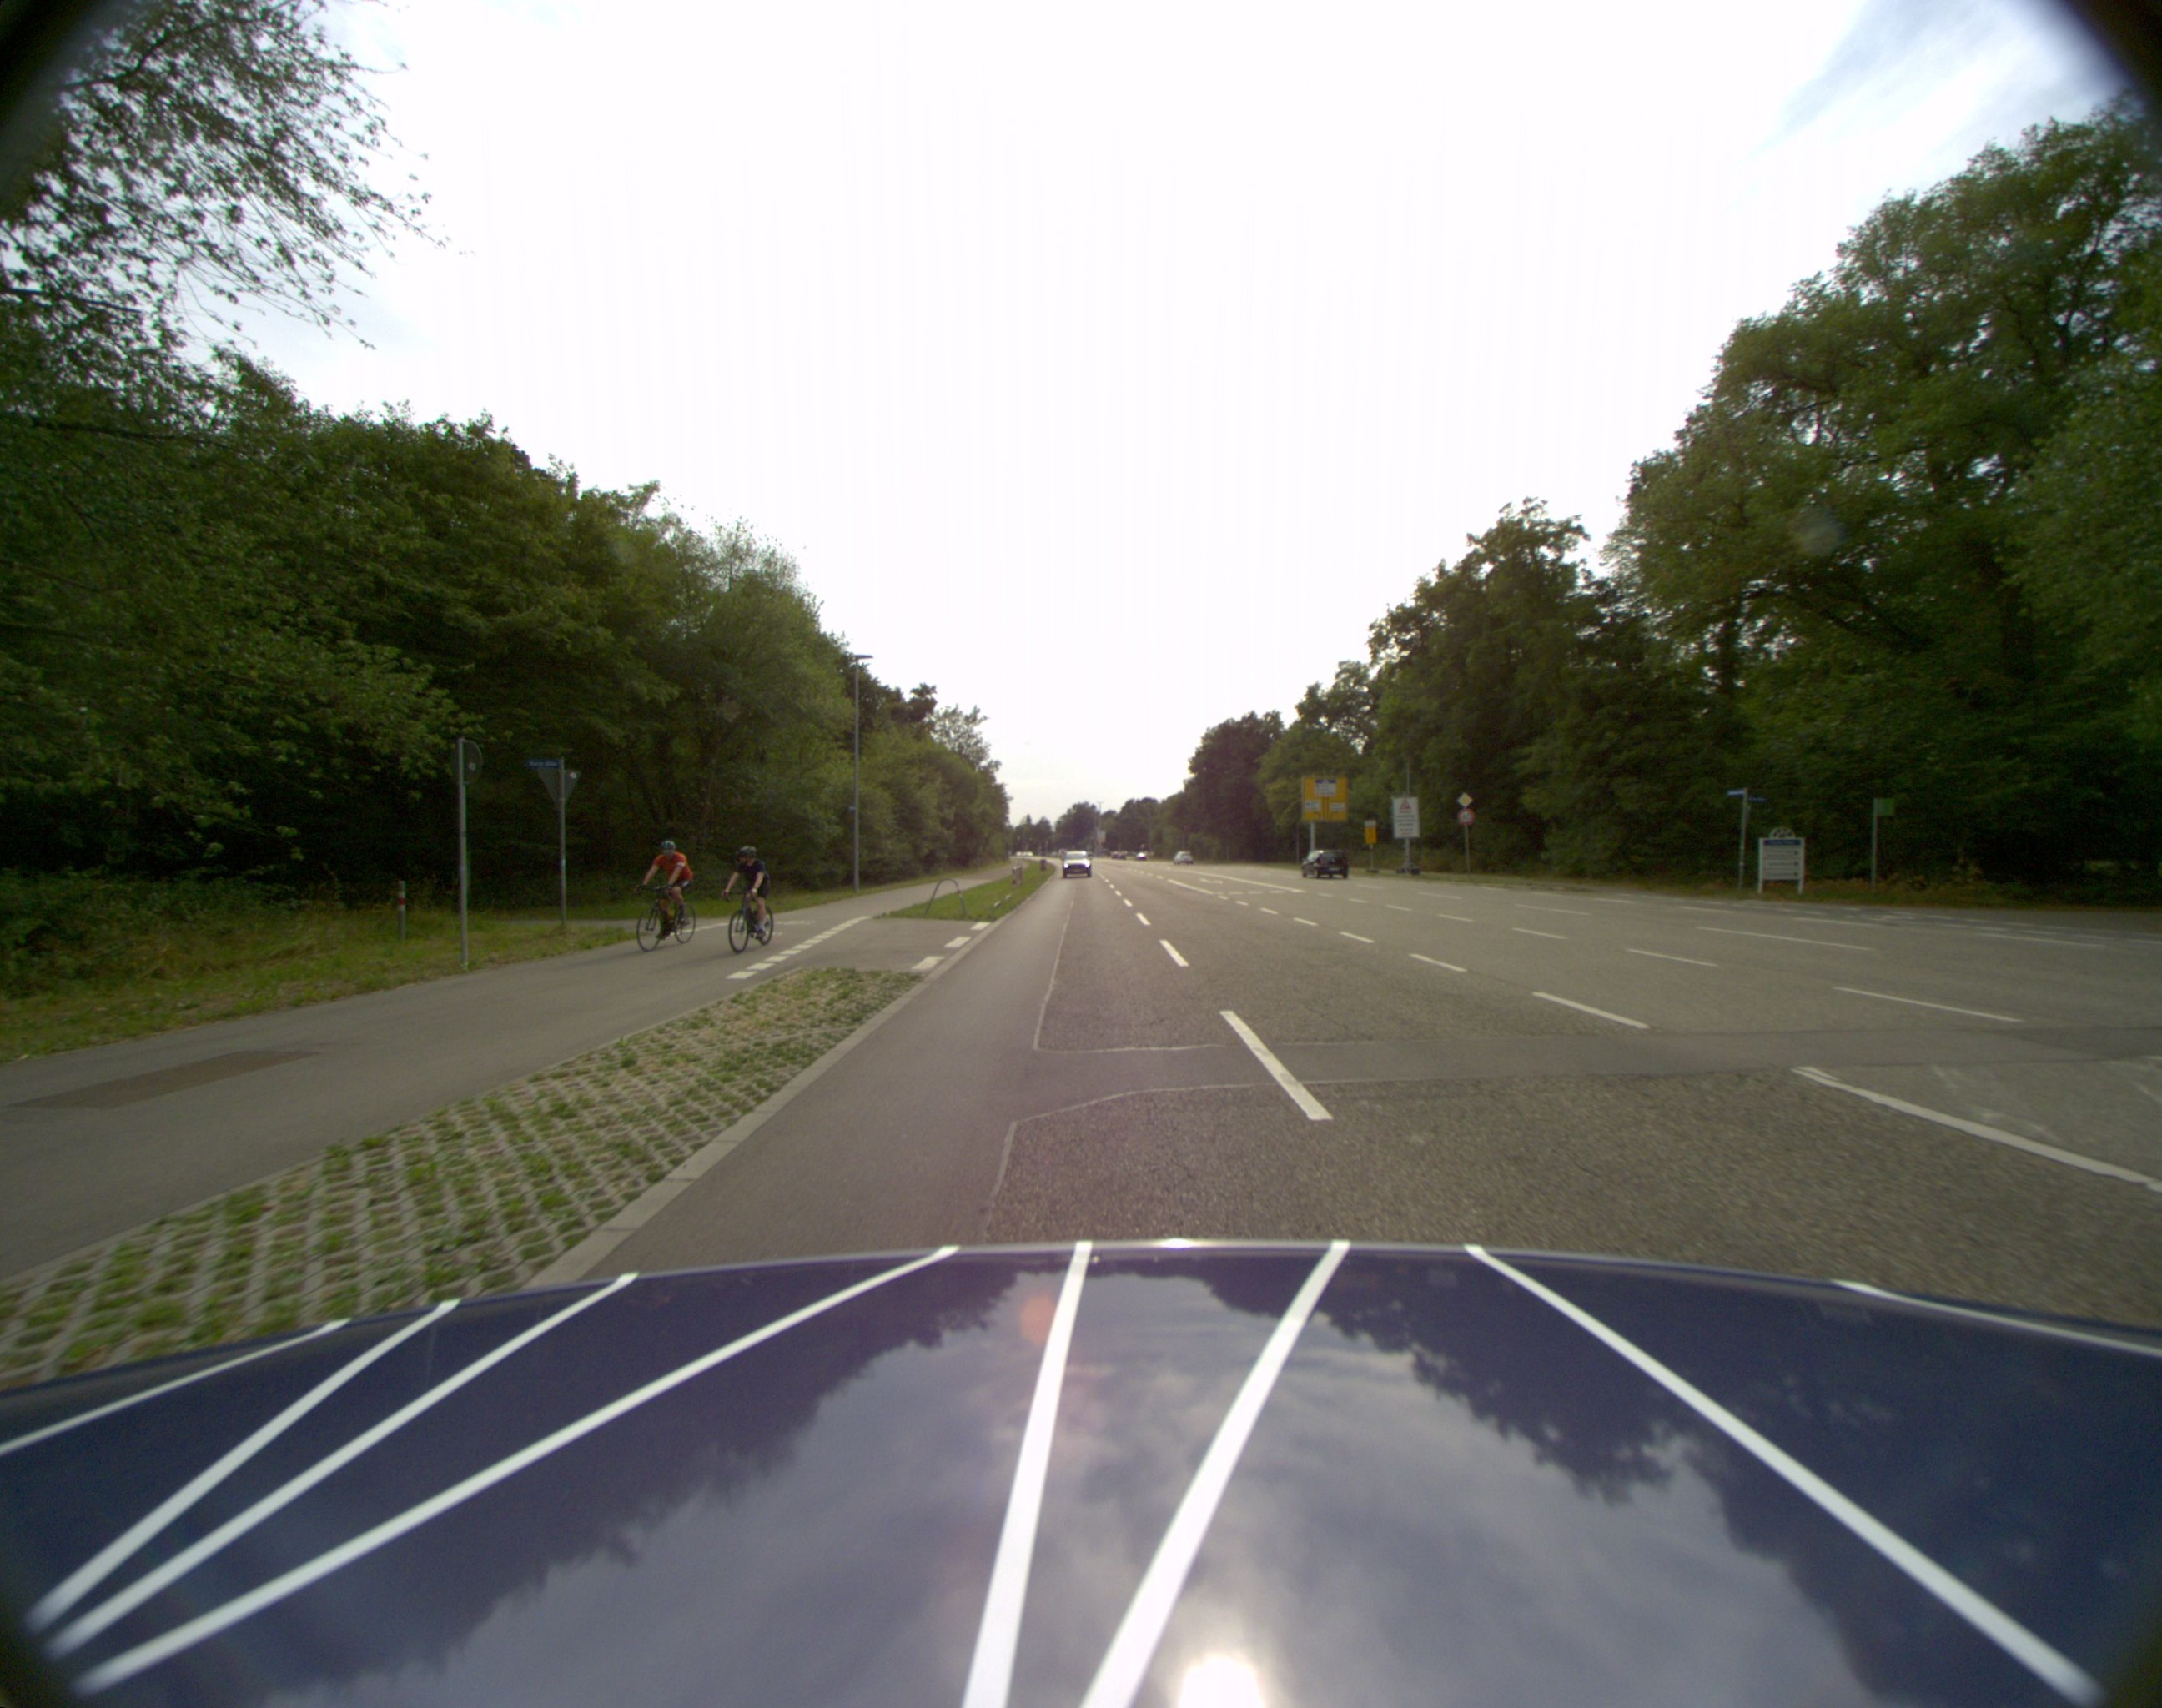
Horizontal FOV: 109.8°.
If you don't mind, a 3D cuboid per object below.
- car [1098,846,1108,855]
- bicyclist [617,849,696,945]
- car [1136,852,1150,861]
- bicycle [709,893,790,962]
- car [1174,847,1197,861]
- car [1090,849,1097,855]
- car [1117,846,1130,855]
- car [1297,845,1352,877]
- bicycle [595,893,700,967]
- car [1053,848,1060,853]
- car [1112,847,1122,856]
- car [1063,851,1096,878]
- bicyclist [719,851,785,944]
[{"bbox_3d":[5.491,-0.902,190.258,1.999,2.002,3.997,-3,1,-5],"label":"car"},{"bbox_3d":[-6.676,0.637,12.002,0.521,1.407,1.186,-2,2,-1],"label":"bicyclist"},{"bbox_3d":[11.903,0.394,145.967,1.999,1.585,3.997,-3,1,-5],"label":"car"},{"bbox_3d":[-5.343,1.160,12.346,0.567,0.906,1.754,2,1,-1],"label":"bicycle"},{"bbox_3d":[12.387,0.008,90.407,1.940,1.492,4.589,-3,1,-2],"label":"car"},{"bbox_3d":[3.154,-0.495,196.612,1.400,1.263,3.777,-3,1,-3],"label":"car"},{"bbox_3d":[9.285,-0.759,166.287,1.999,1.871,3.997,-3,1,-5],"label":"car"},{"bbox_3d":[12.779,0.334,40.025,1.745,1.467,4.000,-3,1,3],"label":"car"},{"bbox_3d":[-6.701,1.137,11.861,0.567,0.906,1.886,2,1,-1],"label":"bicycle"},{"bbox_3d":[-7.613,-1.098,240.587,1.999,1.718,3.998,-1,1,-5],"label":"car"},{"bbox_3d":[8.538,-0.560,181.367,1.999,1.871,3.998,-3,1,-3],"label":"car"},{"bbox_3d":[-0.153,0.657,49.907,1.999,1.565,3.998,-3,1,-2],"label":"car"},{"bbox_3d":[-5.274,0.670,12.245,0.521,1.407,1.186,-1,2,-1],"label":"bicyclist"}]
